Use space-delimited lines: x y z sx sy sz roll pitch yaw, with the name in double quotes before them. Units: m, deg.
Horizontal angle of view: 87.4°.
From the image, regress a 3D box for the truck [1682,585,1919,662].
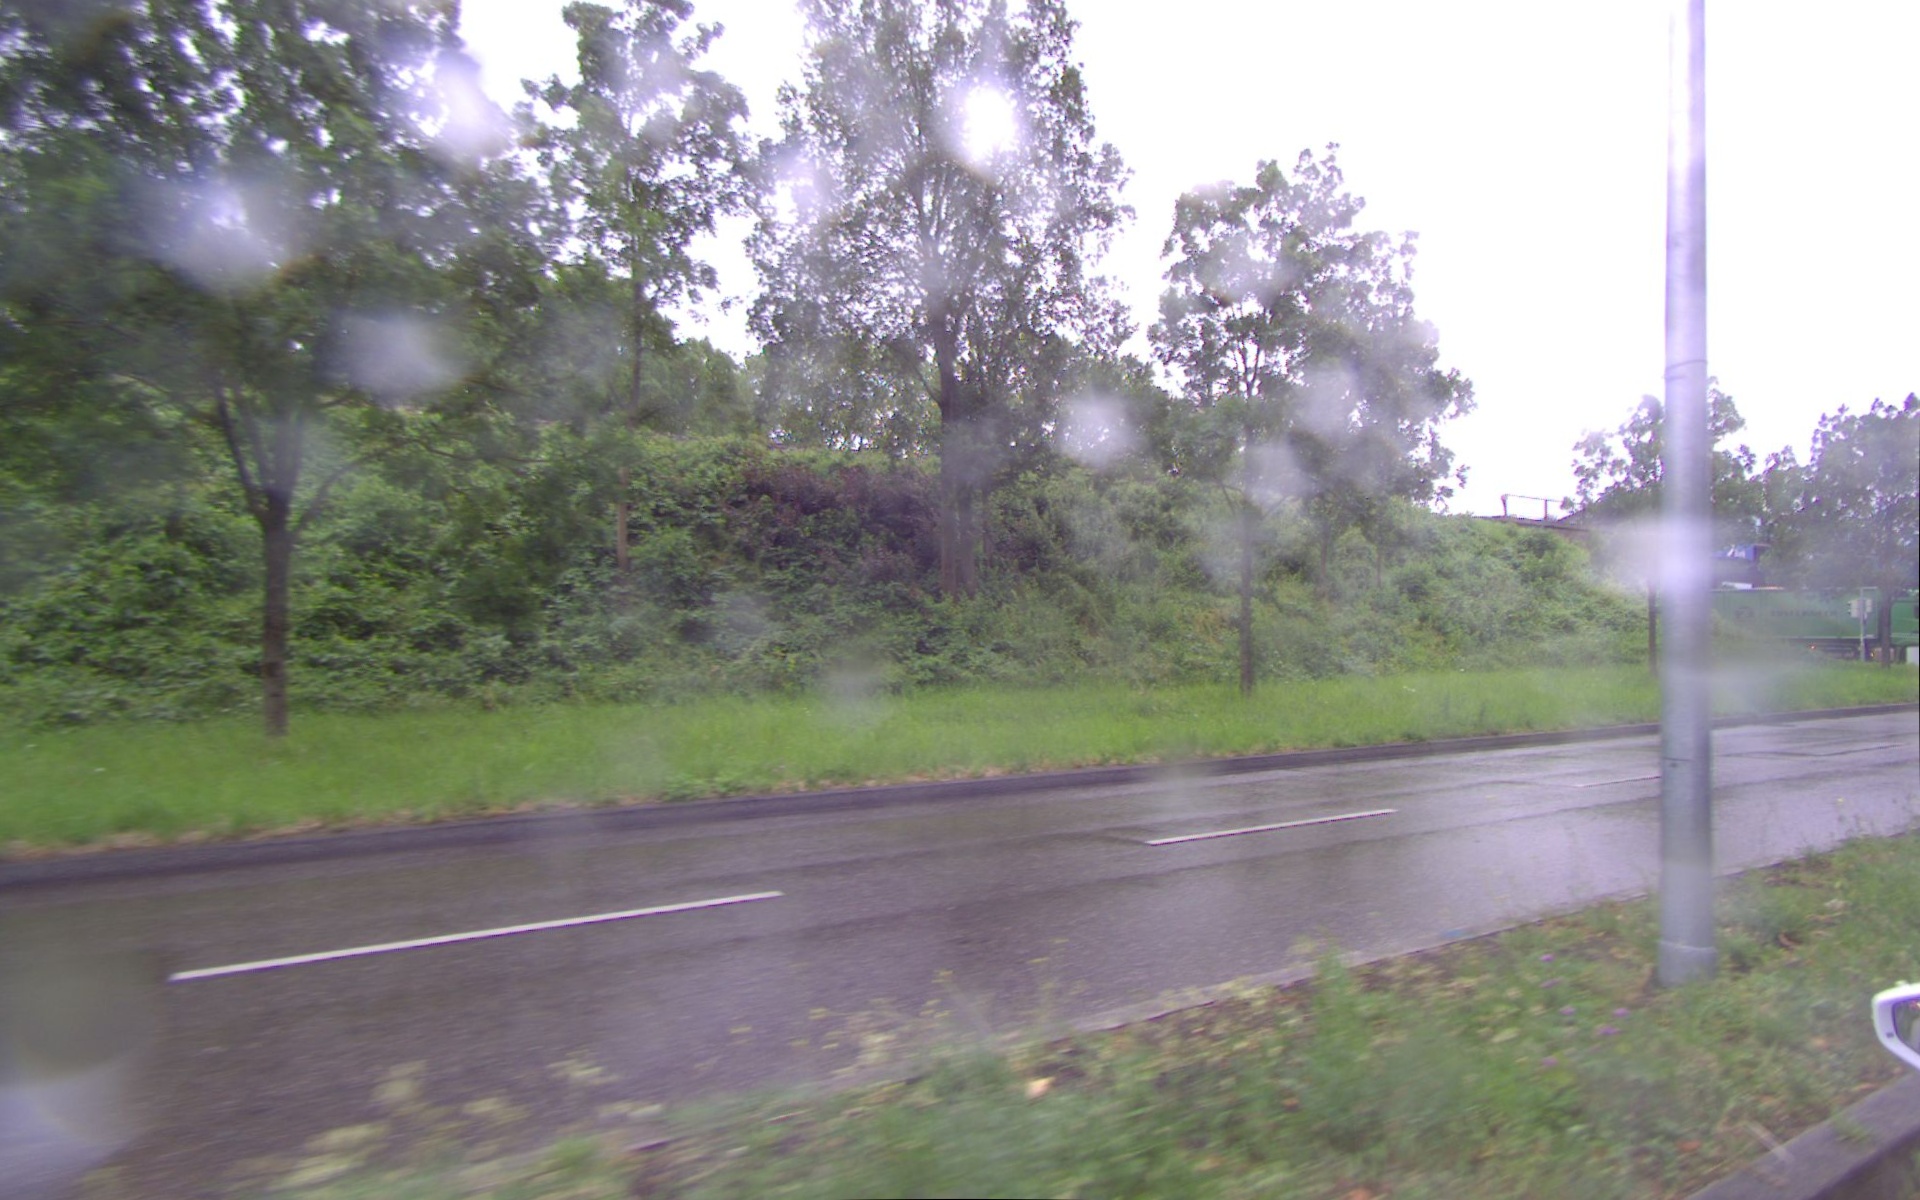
"truck" 42.794 1.135 50.686 9.948 3.497 2.657 2 -1 24
